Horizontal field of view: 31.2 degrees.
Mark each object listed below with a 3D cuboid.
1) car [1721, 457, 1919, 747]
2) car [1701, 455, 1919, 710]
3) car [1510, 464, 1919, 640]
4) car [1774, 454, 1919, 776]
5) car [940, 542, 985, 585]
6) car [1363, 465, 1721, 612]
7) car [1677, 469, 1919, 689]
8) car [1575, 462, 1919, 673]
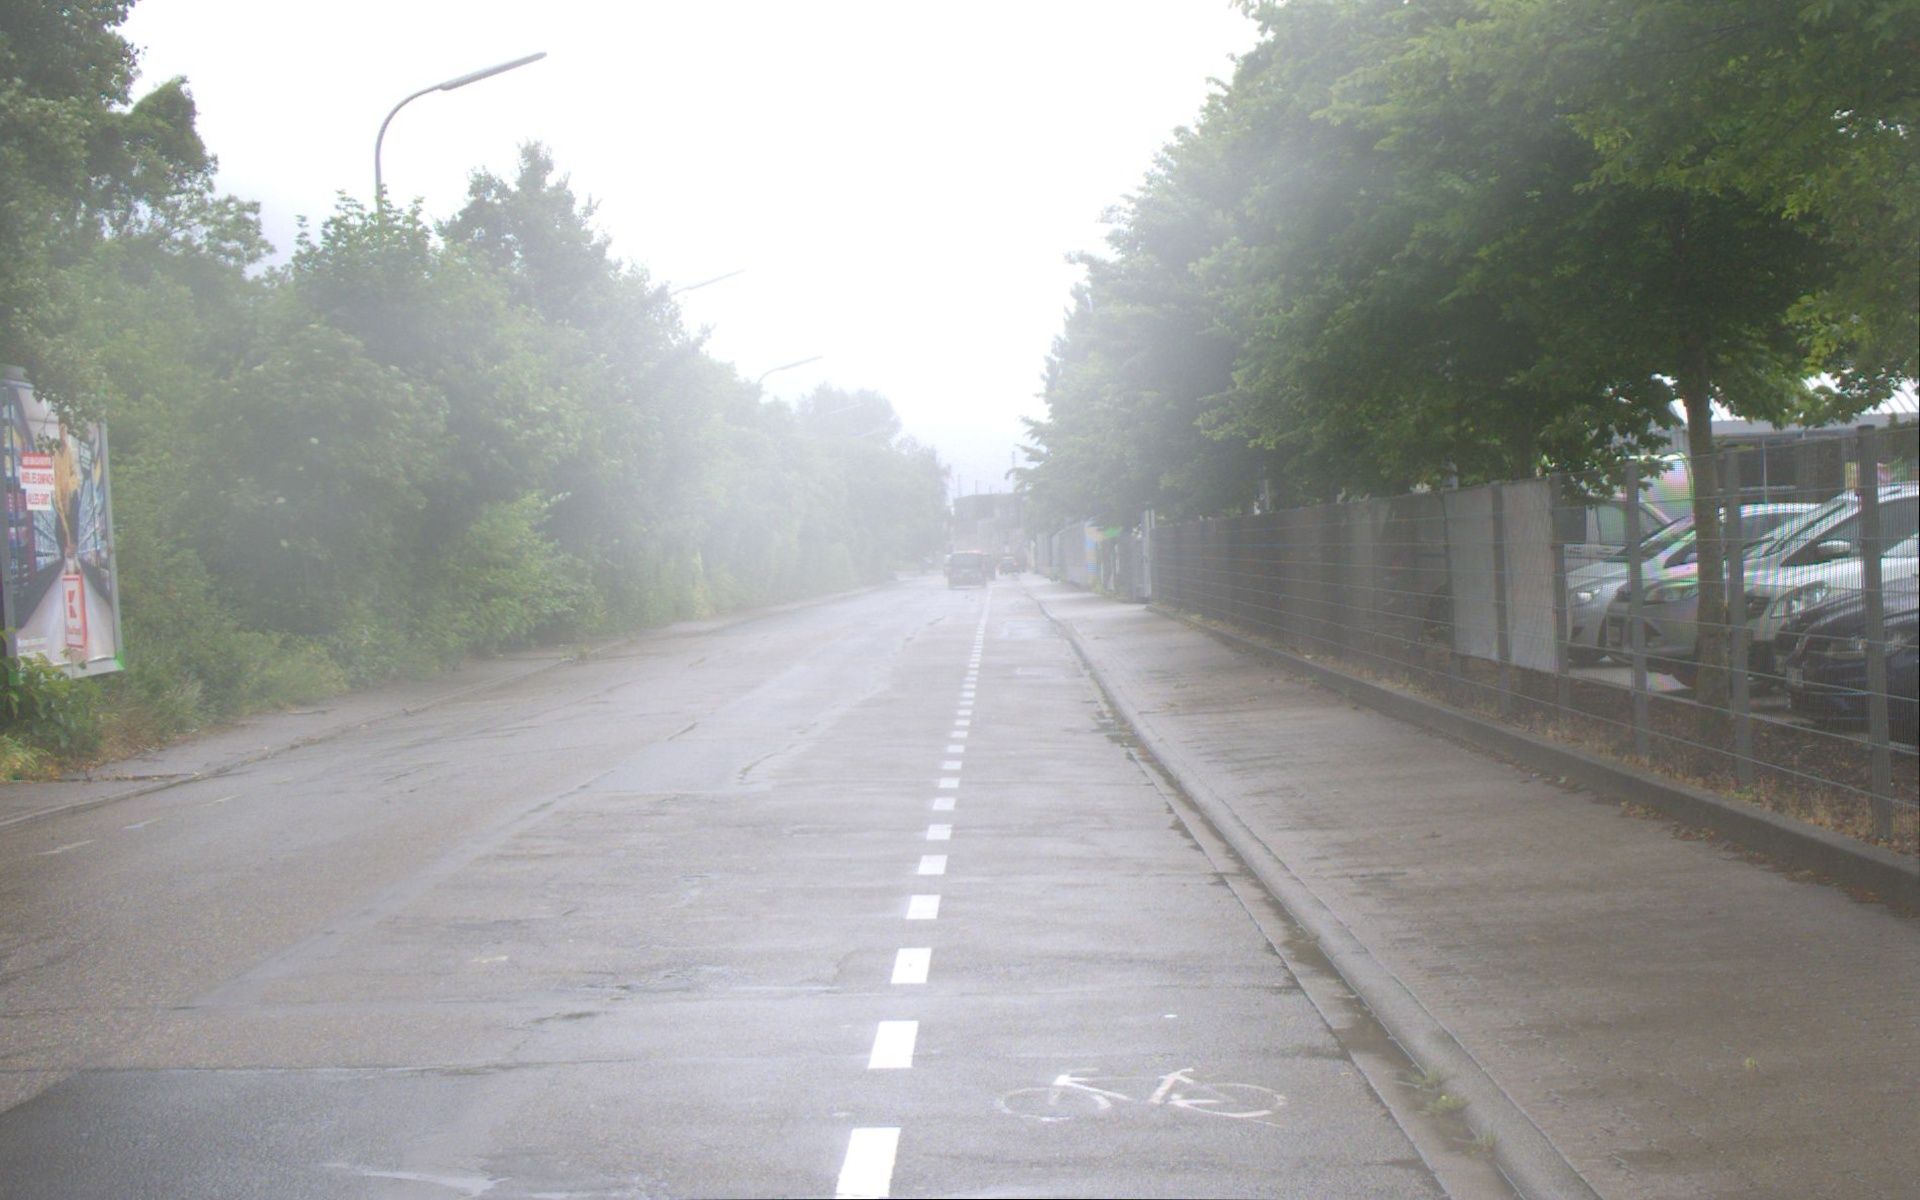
[{"bbox_3d":[6.903,-0.088,20.472,4.207,1.613,1.824,-3,1,-6],"label":"car"},{"bbox_3d":[7.380,-0.205,23.258,4.207,1.613,1.824,-3,1,-6],"label":"car"},{"bbox_3d":[7.889,-0.507,34.977,4.208,1.583,1.824,-2,1,-2],"label":"car"},{"bbox_3d":[6.720,-0.032,18.334,4.207,1.613,1.824,-3,1,-6],"label":"car"},{"bbox_3d":[0.112,-1.711,162.476,1.993,1.904,4.201,-3,0,0],"label":"car"},{"bbox_3d":[7.455,-0.795,44.302,4.208,1.671,1.824,-2,1,-2],"label":"car"},{"bbox_3d":[7.725,-0.236,25.726,4.207,1.528,1.824,-3,1,-6],"label":"car"},{"bbox_3d":[7.423,-0.322,28.388,4.207,1.583,1.824,-3,1,-6],"label":"car"}]
